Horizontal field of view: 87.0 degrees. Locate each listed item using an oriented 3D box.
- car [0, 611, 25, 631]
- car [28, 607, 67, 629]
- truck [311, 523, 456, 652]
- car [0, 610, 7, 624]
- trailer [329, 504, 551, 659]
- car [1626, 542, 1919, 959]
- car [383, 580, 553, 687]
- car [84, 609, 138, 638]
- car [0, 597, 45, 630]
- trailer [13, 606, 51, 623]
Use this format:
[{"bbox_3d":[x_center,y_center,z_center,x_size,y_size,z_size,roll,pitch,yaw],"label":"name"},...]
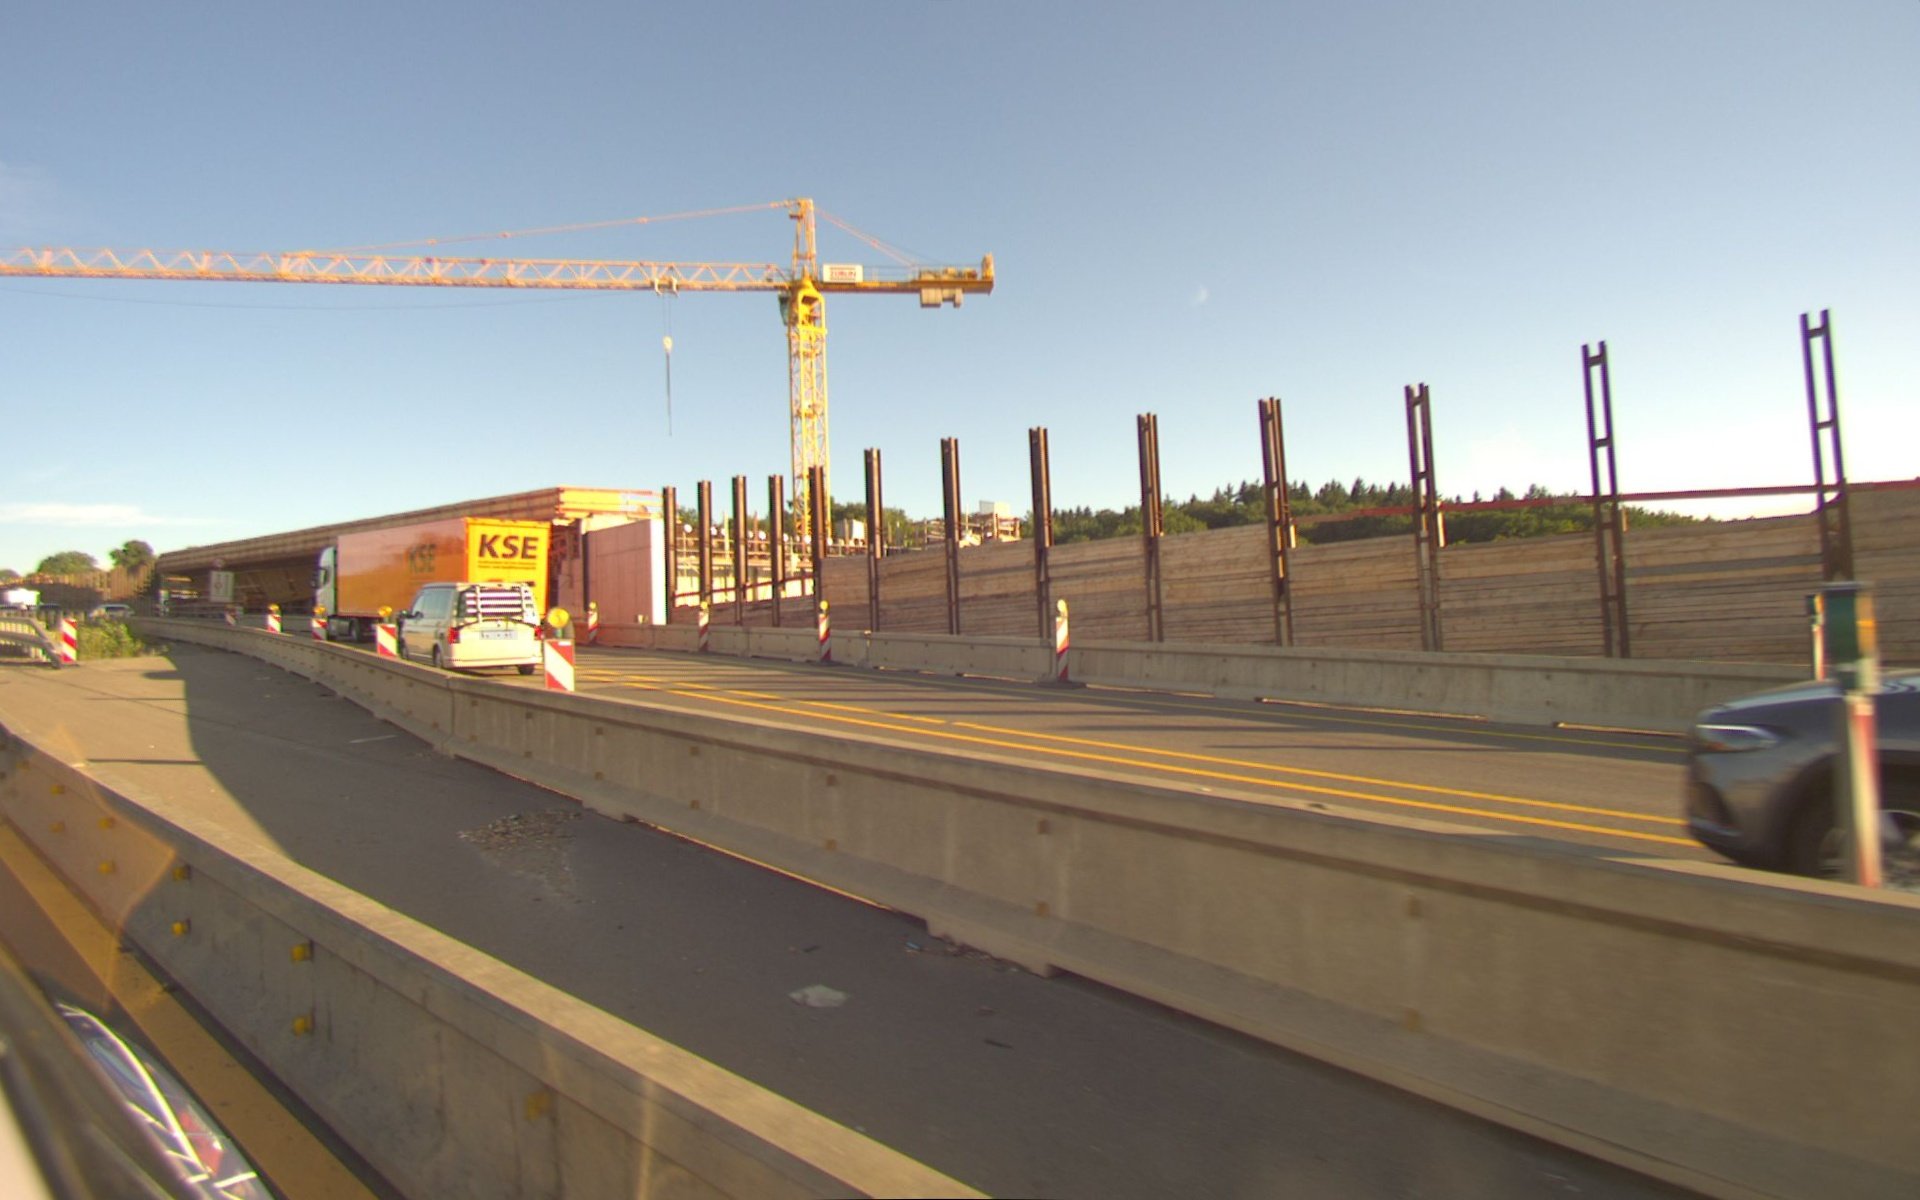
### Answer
[{"bbox_3d":[-79.498,1.757,84.453,4.109,1.613,1.712,0,0,40],"label":"car"},{"bbox_3d":[-65.992,1.272,73.180,3.999,1.401,1.644,0,4,42],"label":"car"},{"bbox_3d":[-22.373,-0.422,39.036,8.335,4.505,2.555,-1,0,44],"label":"truck"},{"bbox_3d":[-93.632,1.633,97.876,4.109,1.287,1.712,0,0,40],"label":"car"},{"bbox_3d":[-18.606,-0.491,35.350,14.142,4.505,2.555,-1,0,45],"label":"trailer"},{"bbox_3d":[5.378,0.545,3.460,1.767,1.632,4.879,-1,0,-42],"label":"car"},{"bbox_3d":[-10.744,0.647,21.851,1.969,2.029,5.264,-1,0,-41],"label":"car"},{"bbox_3d":[-50.468,1.374,60.132,4.657,1.613,1.712,0,0,40],"label":"car"},{"bbox_3d":[-90.090,1.274,97.218,6.154,2.989,2.306,0,0,38],"label":"car"},{"bbox_3d":[-86.786,1.345,94.668,2.141,1.524,2.300,-1,0,38],"label":"trailer"}]
